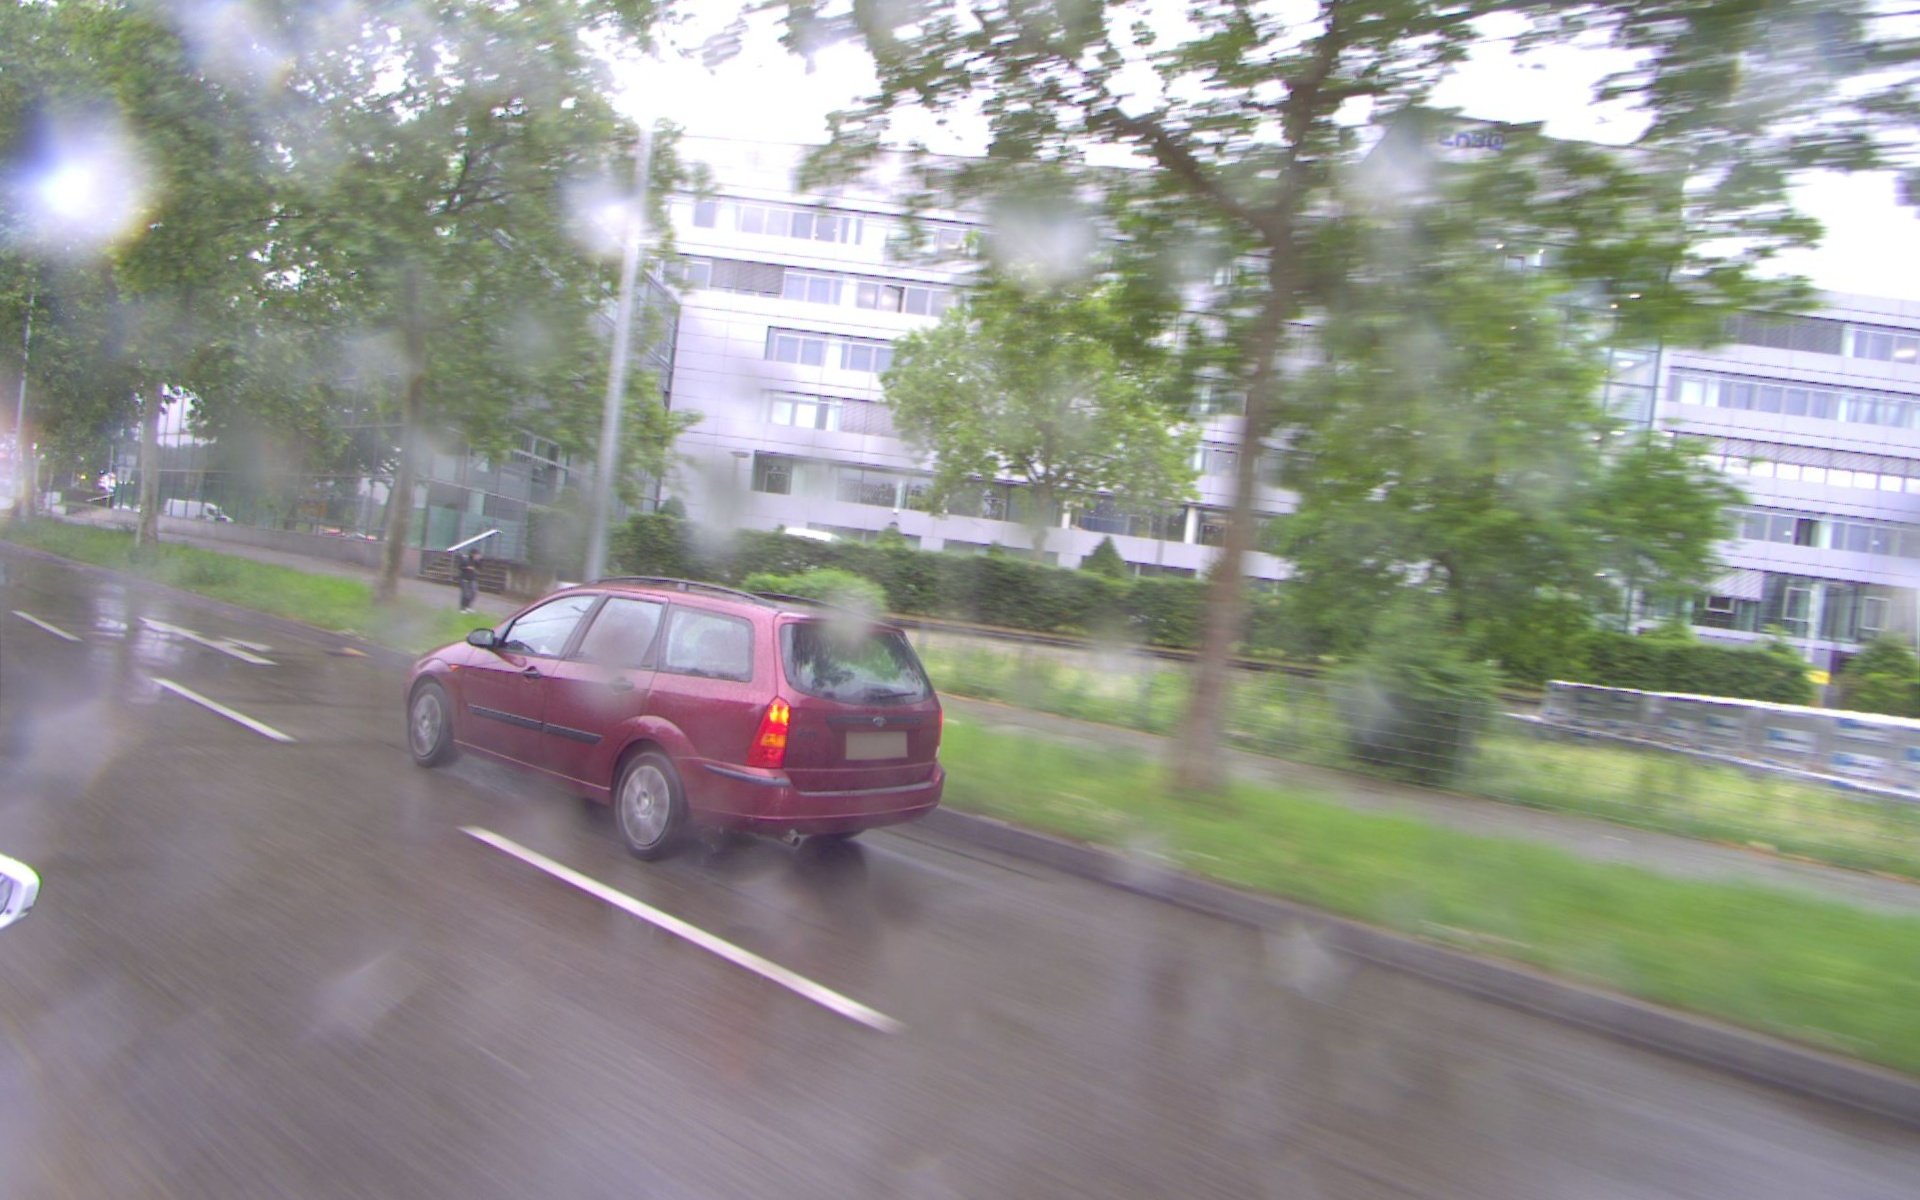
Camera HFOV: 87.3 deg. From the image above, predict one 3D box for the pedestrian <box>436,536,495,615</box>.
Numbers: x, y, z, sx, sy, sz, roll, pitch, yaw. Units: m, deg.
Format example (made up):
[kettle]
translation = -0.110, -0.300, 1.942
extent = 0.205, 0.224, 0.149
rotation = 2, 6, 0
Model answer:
[pedestrian]
translation = -12.155, -0.596, 24.730
extent = 1.058, 1.783, 0.665
rotation = 7, 0, 31

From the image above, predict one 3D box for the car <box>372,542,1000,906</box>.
[car]
translation = -1.989, 0.624, 6.785
extent = 4.048, 1.554, 1.840
rotation = 6, -2, 37
